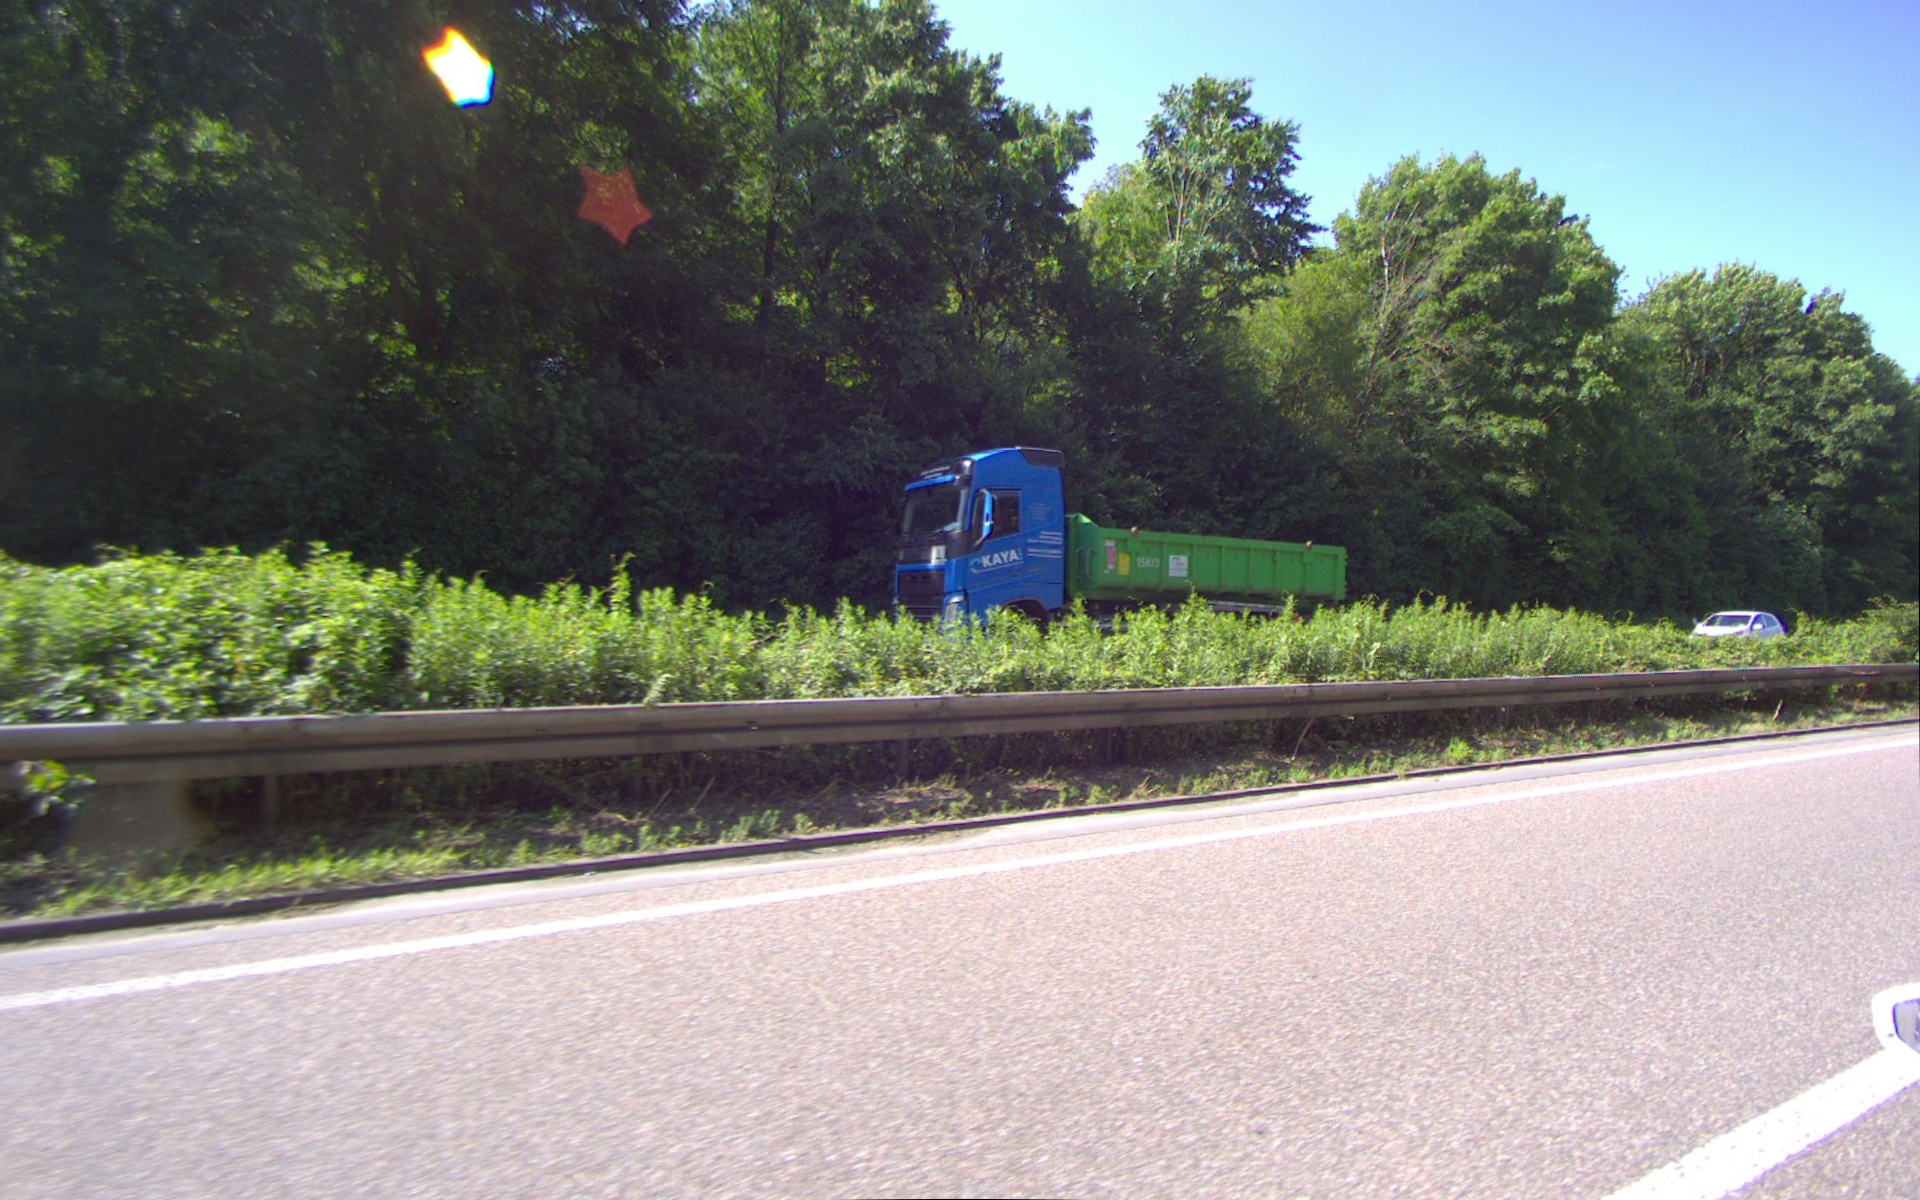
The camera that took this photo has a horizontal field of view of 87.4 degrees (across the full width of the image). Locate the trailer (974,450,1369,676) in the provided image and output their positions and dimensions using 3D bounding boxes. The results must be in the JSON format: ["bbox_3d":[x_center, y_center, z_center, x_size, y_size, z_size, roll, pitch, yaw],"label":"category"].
[{"bbox_3d":[4.353,-0.539,19.938,7.890,3.761,2.675,1,0,-30],"label":"trailer"}]

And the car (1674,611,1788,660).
[{"bbox_3d":[25.267,1.162,32.887,3.579,1.493,1.665,1,0,-29],"label":"car"}]

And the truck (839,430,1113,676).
[{"bbox_3d":[0.254,-0.680,17.496,3.953,3.755,2.633,1,0,-30],"label":"truck"}]

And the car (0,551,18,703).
[{"bbox_3d":[-12.529,0.282,9.749,4.660,1.684,1.684,0,-1,-31],"label":"car"}]
